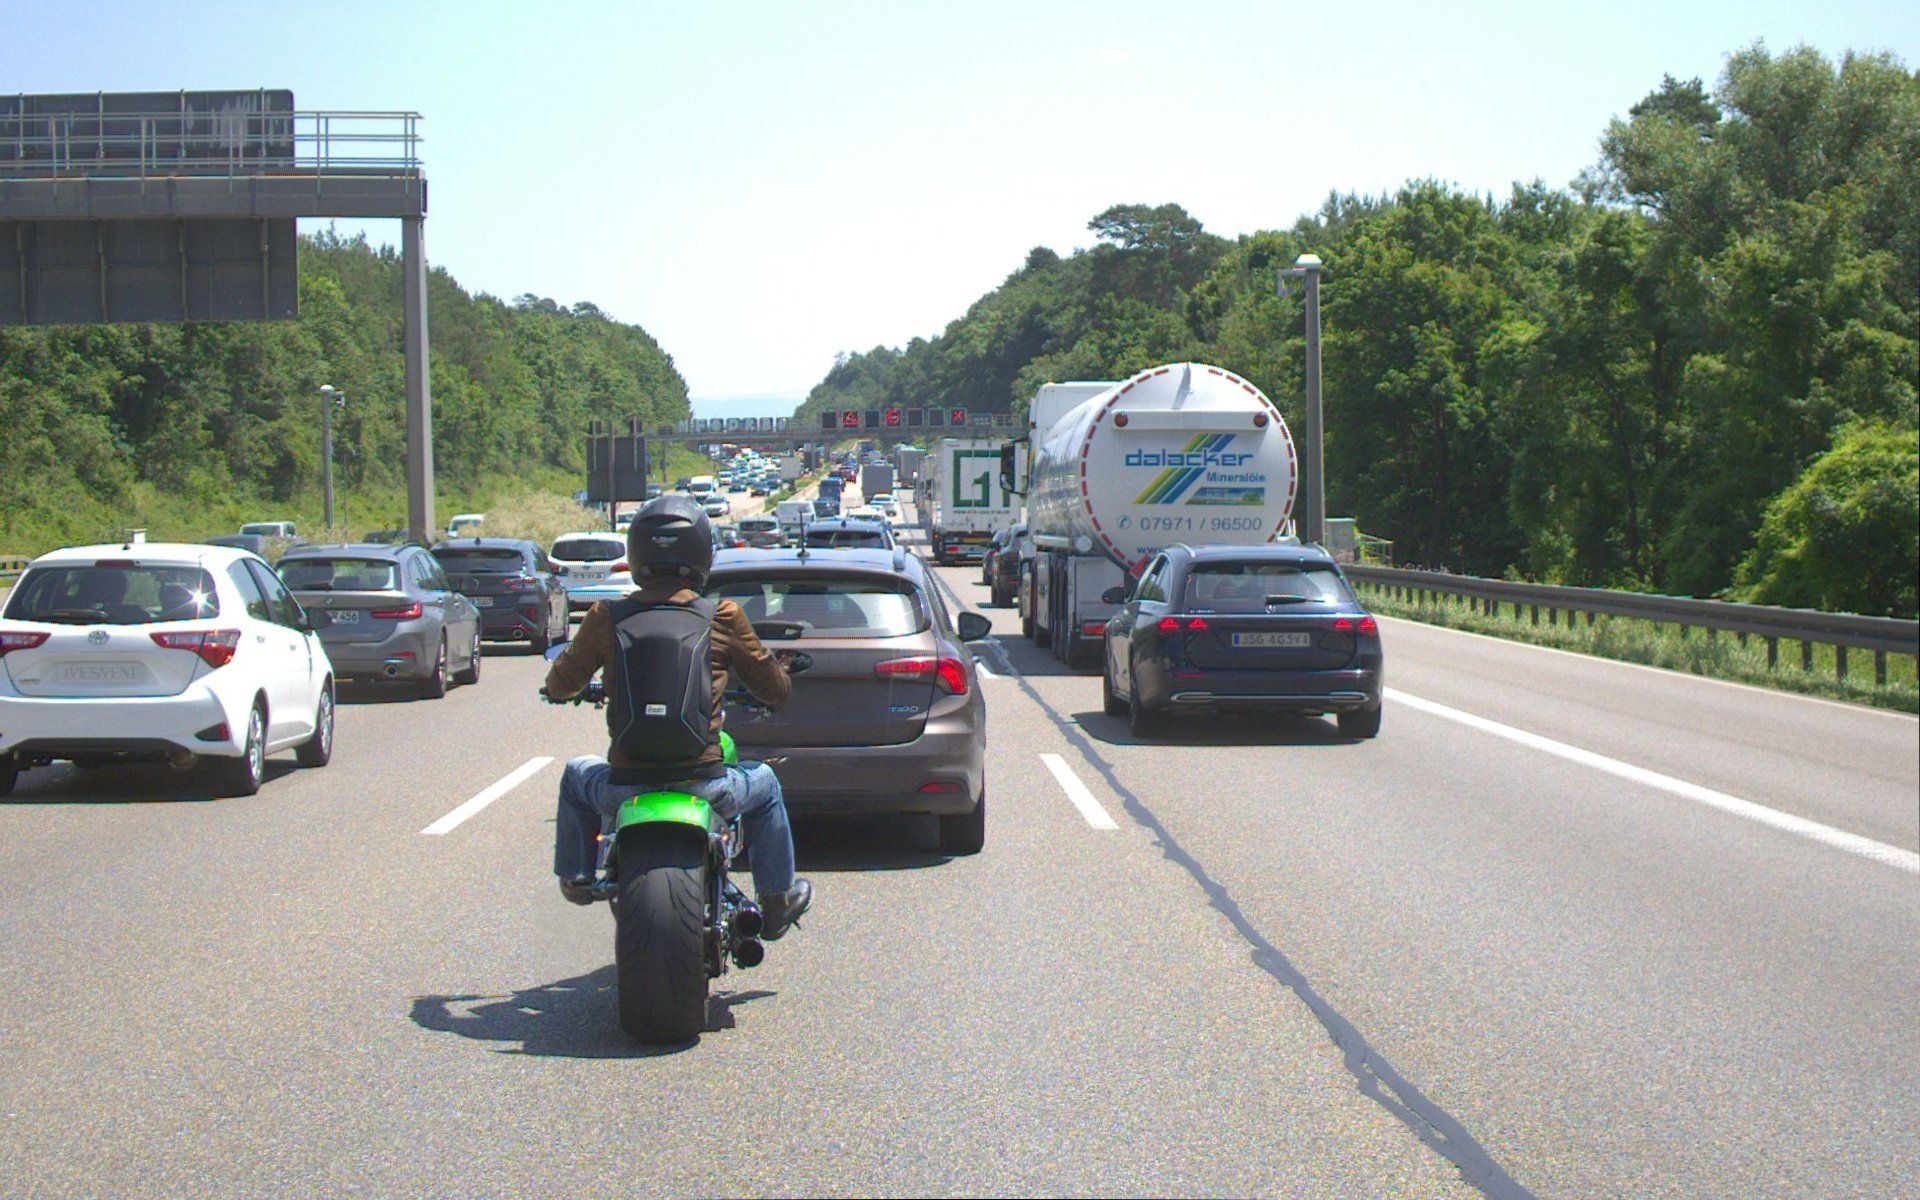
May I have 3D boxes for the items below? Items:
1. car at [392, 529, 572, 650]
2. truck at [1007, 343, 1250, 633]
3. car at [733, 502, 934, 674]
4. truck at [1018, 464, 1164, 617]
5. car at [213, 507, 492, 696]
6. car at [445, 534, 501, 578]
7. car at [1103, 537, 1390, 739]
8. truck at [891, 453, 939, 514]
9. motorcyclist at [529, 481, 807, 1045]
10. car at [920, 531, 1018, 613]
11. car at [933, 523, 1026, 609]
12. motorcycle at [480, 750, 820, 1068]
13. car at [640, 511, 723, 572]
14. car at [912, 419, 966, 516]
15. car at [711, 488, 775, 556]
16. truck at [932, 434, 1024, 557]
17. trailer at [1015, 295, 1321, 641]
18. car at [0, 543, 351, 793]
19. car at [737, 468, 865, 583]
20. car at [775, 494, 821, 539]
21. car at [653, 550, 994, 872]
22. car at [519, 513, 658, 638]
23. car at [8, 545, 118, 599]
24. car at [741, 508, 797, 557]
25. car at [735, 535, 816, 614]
[{"bbox_3d":[-6.023,-0.132,43.687,1.993,1.459,4.001,0,0,-4],"label":"car"},{"bbox_3d":[2.177,-1.426,46.722,2.828,3.658,6.430,0,0,-1],"label":"truck"},{"bbox_3d":[-1.332,-0.126,36.253,1.993,1.705,4.000,0,0,-2],"label":"car"},{"bbox_3d":[2.623,-1.240,71.019,2.388,2.969,8.253,0,1,-2],"label":"truck"},{"bbox_3d":[-5.743,0.008,32.994,1.993,1.678,4.330,0,0,-1],"label":"car"},{"bbox_3d":[-22.871,-2.047,161.561,1.993,2.007,4.473,0,0,-1],"label":"car"},{"bbox_3d":[2.176,0.270,27.274,1.792,1.453,4.624,0,0,-1],"label":"car"},{"bbox_3d":[-2.691,-6.830,203.311,2.696,3.394,10.479,-1,1,-1],"label":"truck"},{"bbox_3d":[-0.894,0.486,10.777,0.799,1.682,1.016,0,0,-1],"label":"motorcyclist"},{"bbox_3d":[0.148,-0.526,66.176,1.776,1.522,4.000,0,0,-1],"label":"car"},{"bbox_3d":[0.444,-0.804,82.444,1.993,2.007,4.000,0,0,-3],"label":"car"},{"bbox_3d":[-0.946,0.948,11.129,0.936,0.790,2.299,0,1,-1],"label":"motorcycle"},{"bbox_3d":[-6.874,-1.424,85.115,1.764,1.437,4.000,0,0,-1],"label":"car"},{"bbox_3d":[-0.948,-5.678,148.978,2.167,3.879,9.330,0,0,-1],"label":"car"},{"bbox_3d":[-6.389,-2.281,101.402,1.660,1.971,4.000,0,1,-1],"label":"car"},{"bbox_3d":[0.640,-3.352,112.340,2.854,3.808,7.187,0,0,2],"label":"truck"},{"bbox_3d":[2.294,-1.411,41.845,2.828,3.658,10.733,0,0,-1],"label":"trailer"},{"bbox_3d":[-5.003,0.378,21.437,1.776,1.406,4.000,0,0,-1],"label":"car"},{"bbox_3d":[-2.544,-1.167,55.458,1.993,1.769,4.000,0,0,-2],"label":"car"},{"bbox_3d":[-7.507,-3.853,159.242,1.993,2.007,4.000,-1,1,-1],"label":"car"},{"bbox_3d":[-0.662,0.478,17.610,1.541,1.445,4.000,0,1,-1],"label":"car"},{"bbox_3d":[-6.173,-0.404,57.501,1.993,2.007,4.000,0,0,-2],"label":"car"},{"bbox_3d":[-24.658,-0.755,94.619,1.993,1.442,4.000,0,0,-1],"label":"car"},{"bbox_3d":[-6.312,-2.233,114.027,1.660,1.594,4.000,0,1,-1],"label":"car"},{"bbox_3d":[-4.790,-0.666,89.727,1.993,2.007,4.000,0,0,-1],"label":"car"}]
